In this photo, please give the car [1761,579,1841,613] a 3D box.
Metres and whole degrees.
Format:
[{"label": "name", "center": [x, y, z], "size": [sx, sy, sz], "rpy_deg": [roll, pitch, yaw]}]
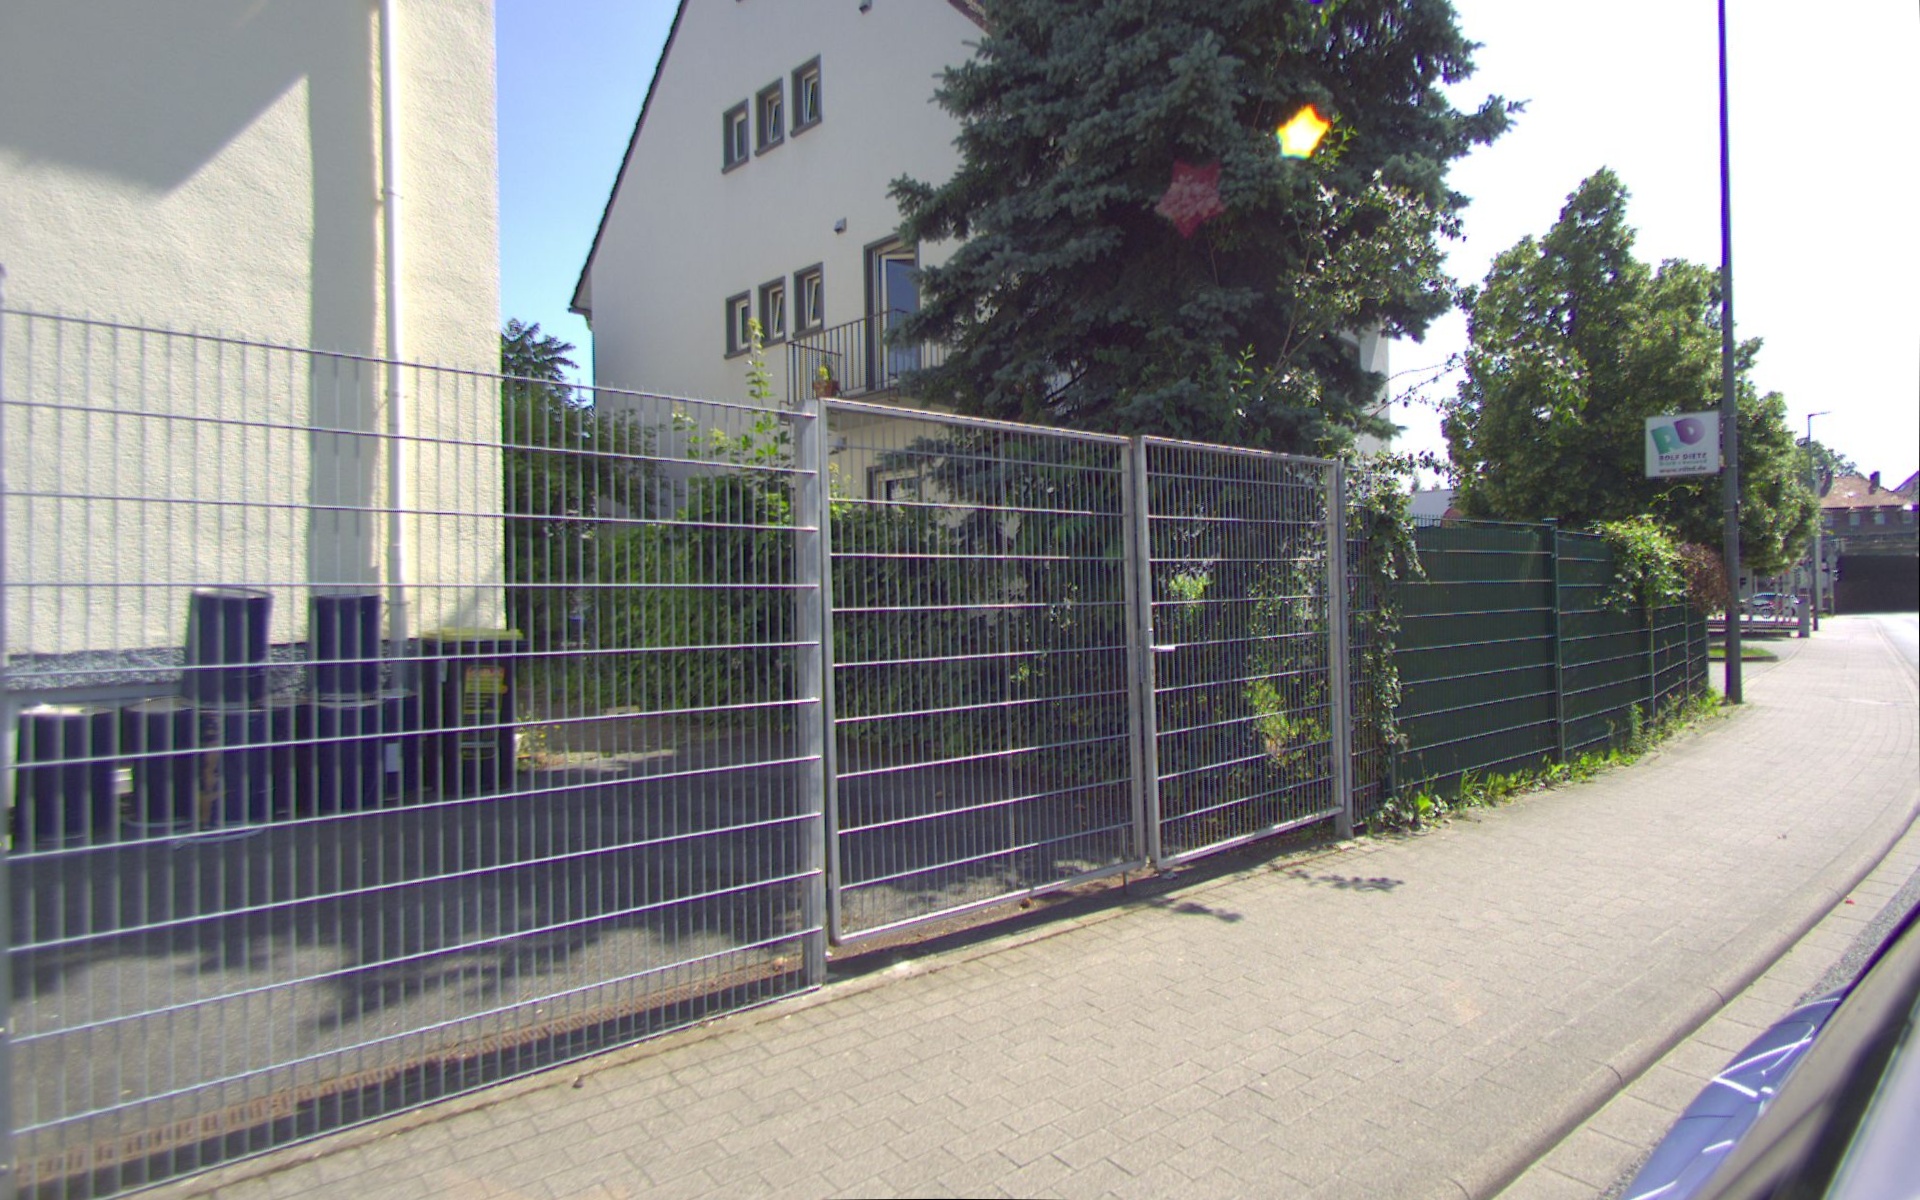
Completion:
[{"label": "car", "center": [54.762, -0.248, 65.983], "size": [3.980, 2.128, 1.972], "rpy_deg": [0, 0, 40]}]
